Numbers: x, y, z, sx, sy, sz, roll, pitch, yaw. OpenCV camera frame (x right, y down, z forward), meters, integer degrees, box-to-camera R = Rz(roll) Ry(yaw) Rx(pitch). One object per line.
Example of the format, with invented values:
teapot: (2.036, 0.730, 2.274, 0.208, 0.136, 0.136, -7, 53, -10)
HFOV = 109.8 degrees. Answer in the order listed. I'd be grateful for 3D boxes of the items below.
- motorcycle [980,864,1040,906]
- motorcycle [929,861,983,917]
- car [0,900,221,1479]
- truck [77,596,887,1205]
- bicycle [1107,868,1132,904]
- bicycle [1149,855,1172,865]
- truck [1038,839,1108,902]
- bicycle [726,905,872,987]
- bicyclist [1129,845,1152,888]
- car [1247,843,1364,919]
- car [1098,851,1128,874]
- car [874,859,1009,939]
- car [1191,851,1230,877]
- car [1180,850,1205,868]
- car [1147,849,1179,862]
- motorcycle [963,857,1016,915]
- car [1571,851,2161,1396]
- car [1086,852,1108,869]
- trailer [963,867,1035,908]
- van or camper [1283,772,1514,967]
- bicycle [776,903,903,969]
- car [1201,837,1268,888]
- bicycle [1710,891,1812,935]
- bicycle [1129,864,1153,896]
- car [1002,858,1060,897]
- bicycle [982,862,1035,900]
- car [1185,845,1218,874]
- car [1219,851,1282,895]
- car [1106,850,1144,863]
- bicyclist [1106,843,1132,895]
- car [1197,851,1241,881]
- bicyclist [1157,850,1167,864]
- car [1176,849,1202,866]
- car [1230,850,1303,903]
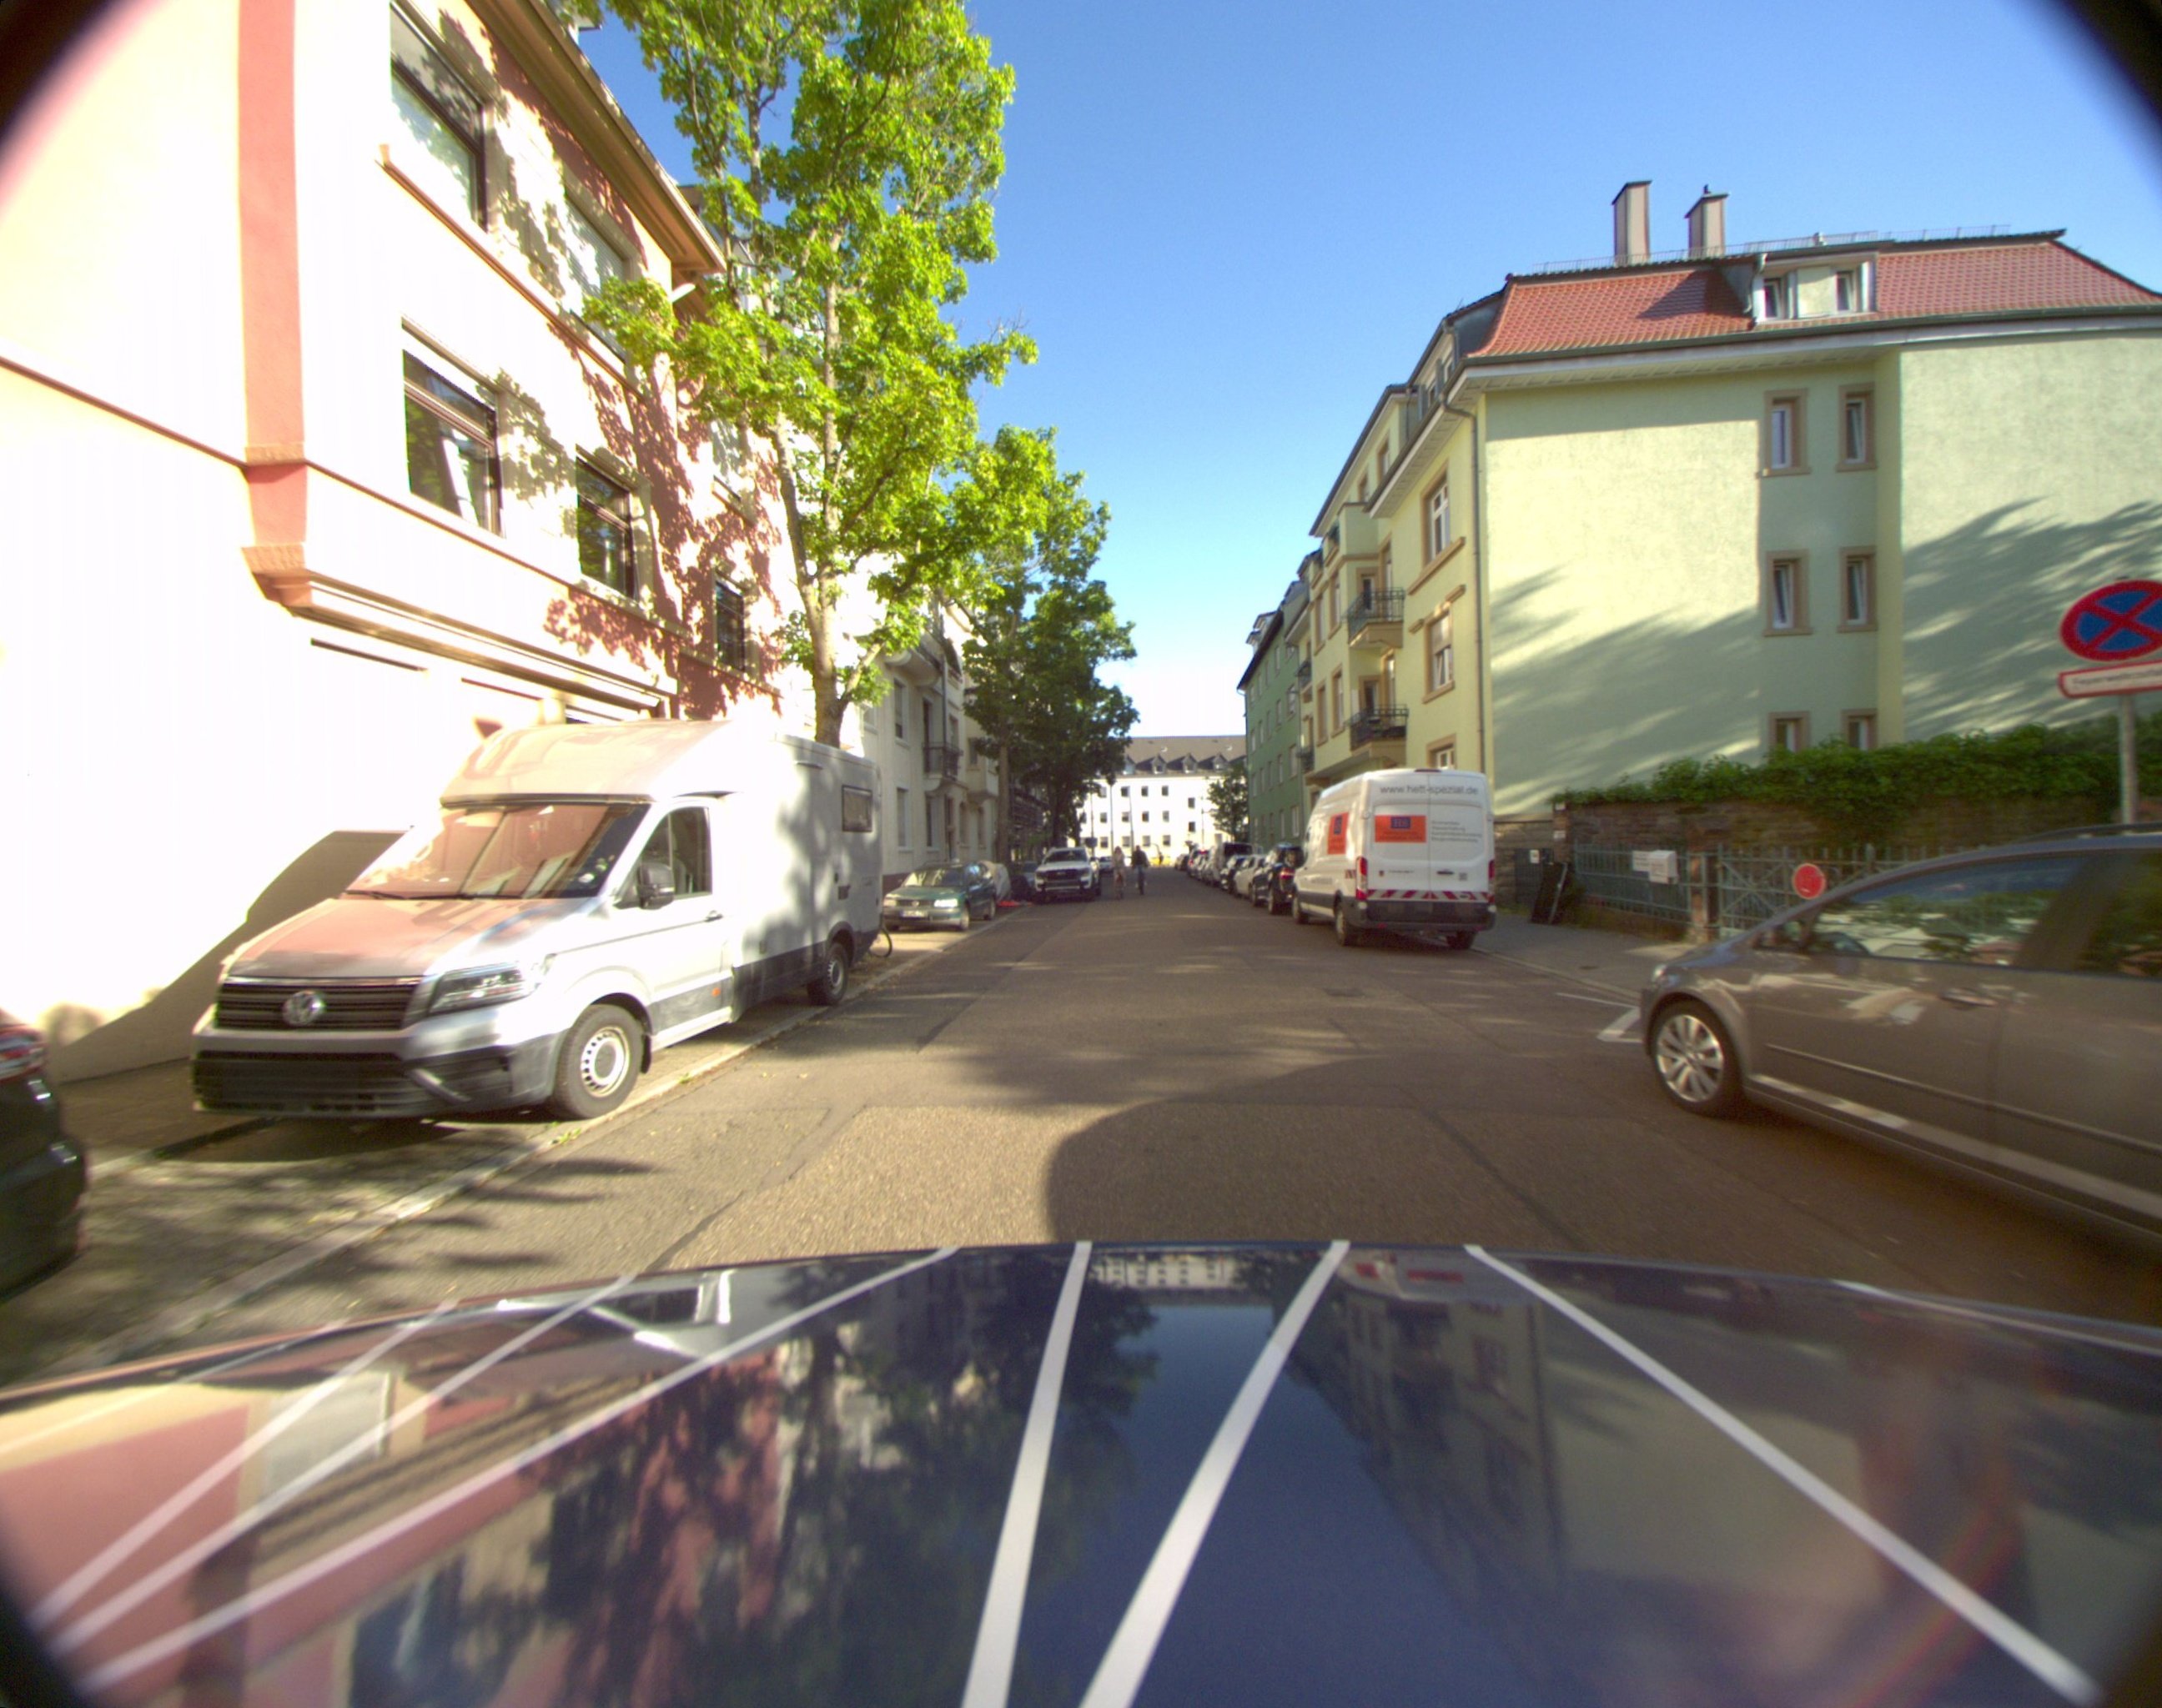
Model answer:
motorcycle: (-2.266, 0.979, 24.345, 1.768, 1.233, 0.701, -2, 1, -34)
motorcycle: (-3.450, 0.932, 21.131, 0.863, 1.408, 2.235, -2, 0, 6)
car: (-4.333, 1.059, 0.417, 1.889, 1.706, 4.945, -1, 0, 4)
truck: (-3.772, 0.195, 6.791, 2.078, 2.951, 6.110, 1, 1, 4)
bicycle: (1.313, 1.058, 25.640, 0.707, 1.039, 1.858, -5, 1, 5)
bicycle: (7.808, 0.607, 74.699, 2.102, 0.892, 0.601, -2, 1, -1)
truck: (-0.156, 0.500, 26.732, 1.832, 1.937, 5.542, -2, 0, 5)
bicycle: (-3.850, 1.252, 10.469, 1.707, 0.994, 0.706, -2, 1, -1)
bicyclist: (2.201, 0.454, 28.279, 0.757, 1.556, 0.981, -3, 1, 2)
car: (5.567, 0.594, 19.530, 1.879, 1.676, 4.971, 1, 0, 4)
car: (2.379, 0.585, 55.532, 1.806, 1.526, 3.966, -2, 0, 6)
car: (-3.014, 0.912, 17.530, 1.754, 1.521, 4.783, 0, 1, 6)
car: (7.782, 0.547, 45.991, 1.724, 1.454, 4.507, 1, 1, 2)
car: (9.455, 0.410, 64.878, 1.770, 1.444, 4.208, 2, 0, 4)
car: (9.842, 0.180, 91.678, 3.612, 1.440, 1.553, -2, 2, -3)
motorcycle: (-2.507, 0.854, 21.075, 0.932, 1.477, 2.139, -2, 0, 6)
car: (4.127, 0.799, 2.974, 1.784, 1.581, 4.470, 1, 1, 5)
car: (1.505, 0.543, 68.806, 1.665, 1.399, 4.508, 2, 1, 5)
trailer: (-2.492, 0.992, 23.002, 2.087, 1.106, 1.115, -2, 1, -9)
van or camper: (5.283, 0.196, 13.755, 2.133, 2.753, 5.853, 1, 1, 5)
bicycle: (-3.766, 1.281, 11.902, 1.789, 0.943, 0.579, -2, 1, 7)
car: (7.034, 0.325, 35.342, 2.256, 2.156, 5.244, 1, 1, 3)
bicycle: (10.443, 0.892, 11.726, 0.405, 0.537, 1.433, -2, 0, 6)
bicycle: (2.219, 0.938, 28.272, 0.741, 1.054, 1.858, -3, 1, 1)
car: (-1.918, 0.896, 30.576, 1.683, 1.414, 4.431, 0, 0, 5)
bicycle: (-2.527, 0.946, 26.683, 1.763, 1.297, 0.586, -1, 1, 3)
car: (8.202, 0.326, 52.185, 1.775, 1.833, 4.416, 1, 1, 3)
car: (6.451, 0.671, 29.323, 1.770, 1.513, 4.826, 0, 0, 5)
car: (5.269, 0.289, 91.467, 4.491, 1.498, 1.945, -2, 1, -1)
bicyclist: (1.300, 0.489, 25.636, 0.716, 1.679, 0.981, -4, 1, 5)
car: (7.358, 0.618, 40.983, 1.837, 1.454, 4.364, 1, 1, 4)
bicyclist: (7.935, 0.310, 74.686, 0.897, 1.361, 0.563, -2, 2, -2)
car: (9.928, 0.325, 70.210, 1.723, 1.546, 4.073, 1, 0, -1)
car: (5.909, 0.658, 24.594, 1.638, 1.543, 4.089, 0, 1, 4)
